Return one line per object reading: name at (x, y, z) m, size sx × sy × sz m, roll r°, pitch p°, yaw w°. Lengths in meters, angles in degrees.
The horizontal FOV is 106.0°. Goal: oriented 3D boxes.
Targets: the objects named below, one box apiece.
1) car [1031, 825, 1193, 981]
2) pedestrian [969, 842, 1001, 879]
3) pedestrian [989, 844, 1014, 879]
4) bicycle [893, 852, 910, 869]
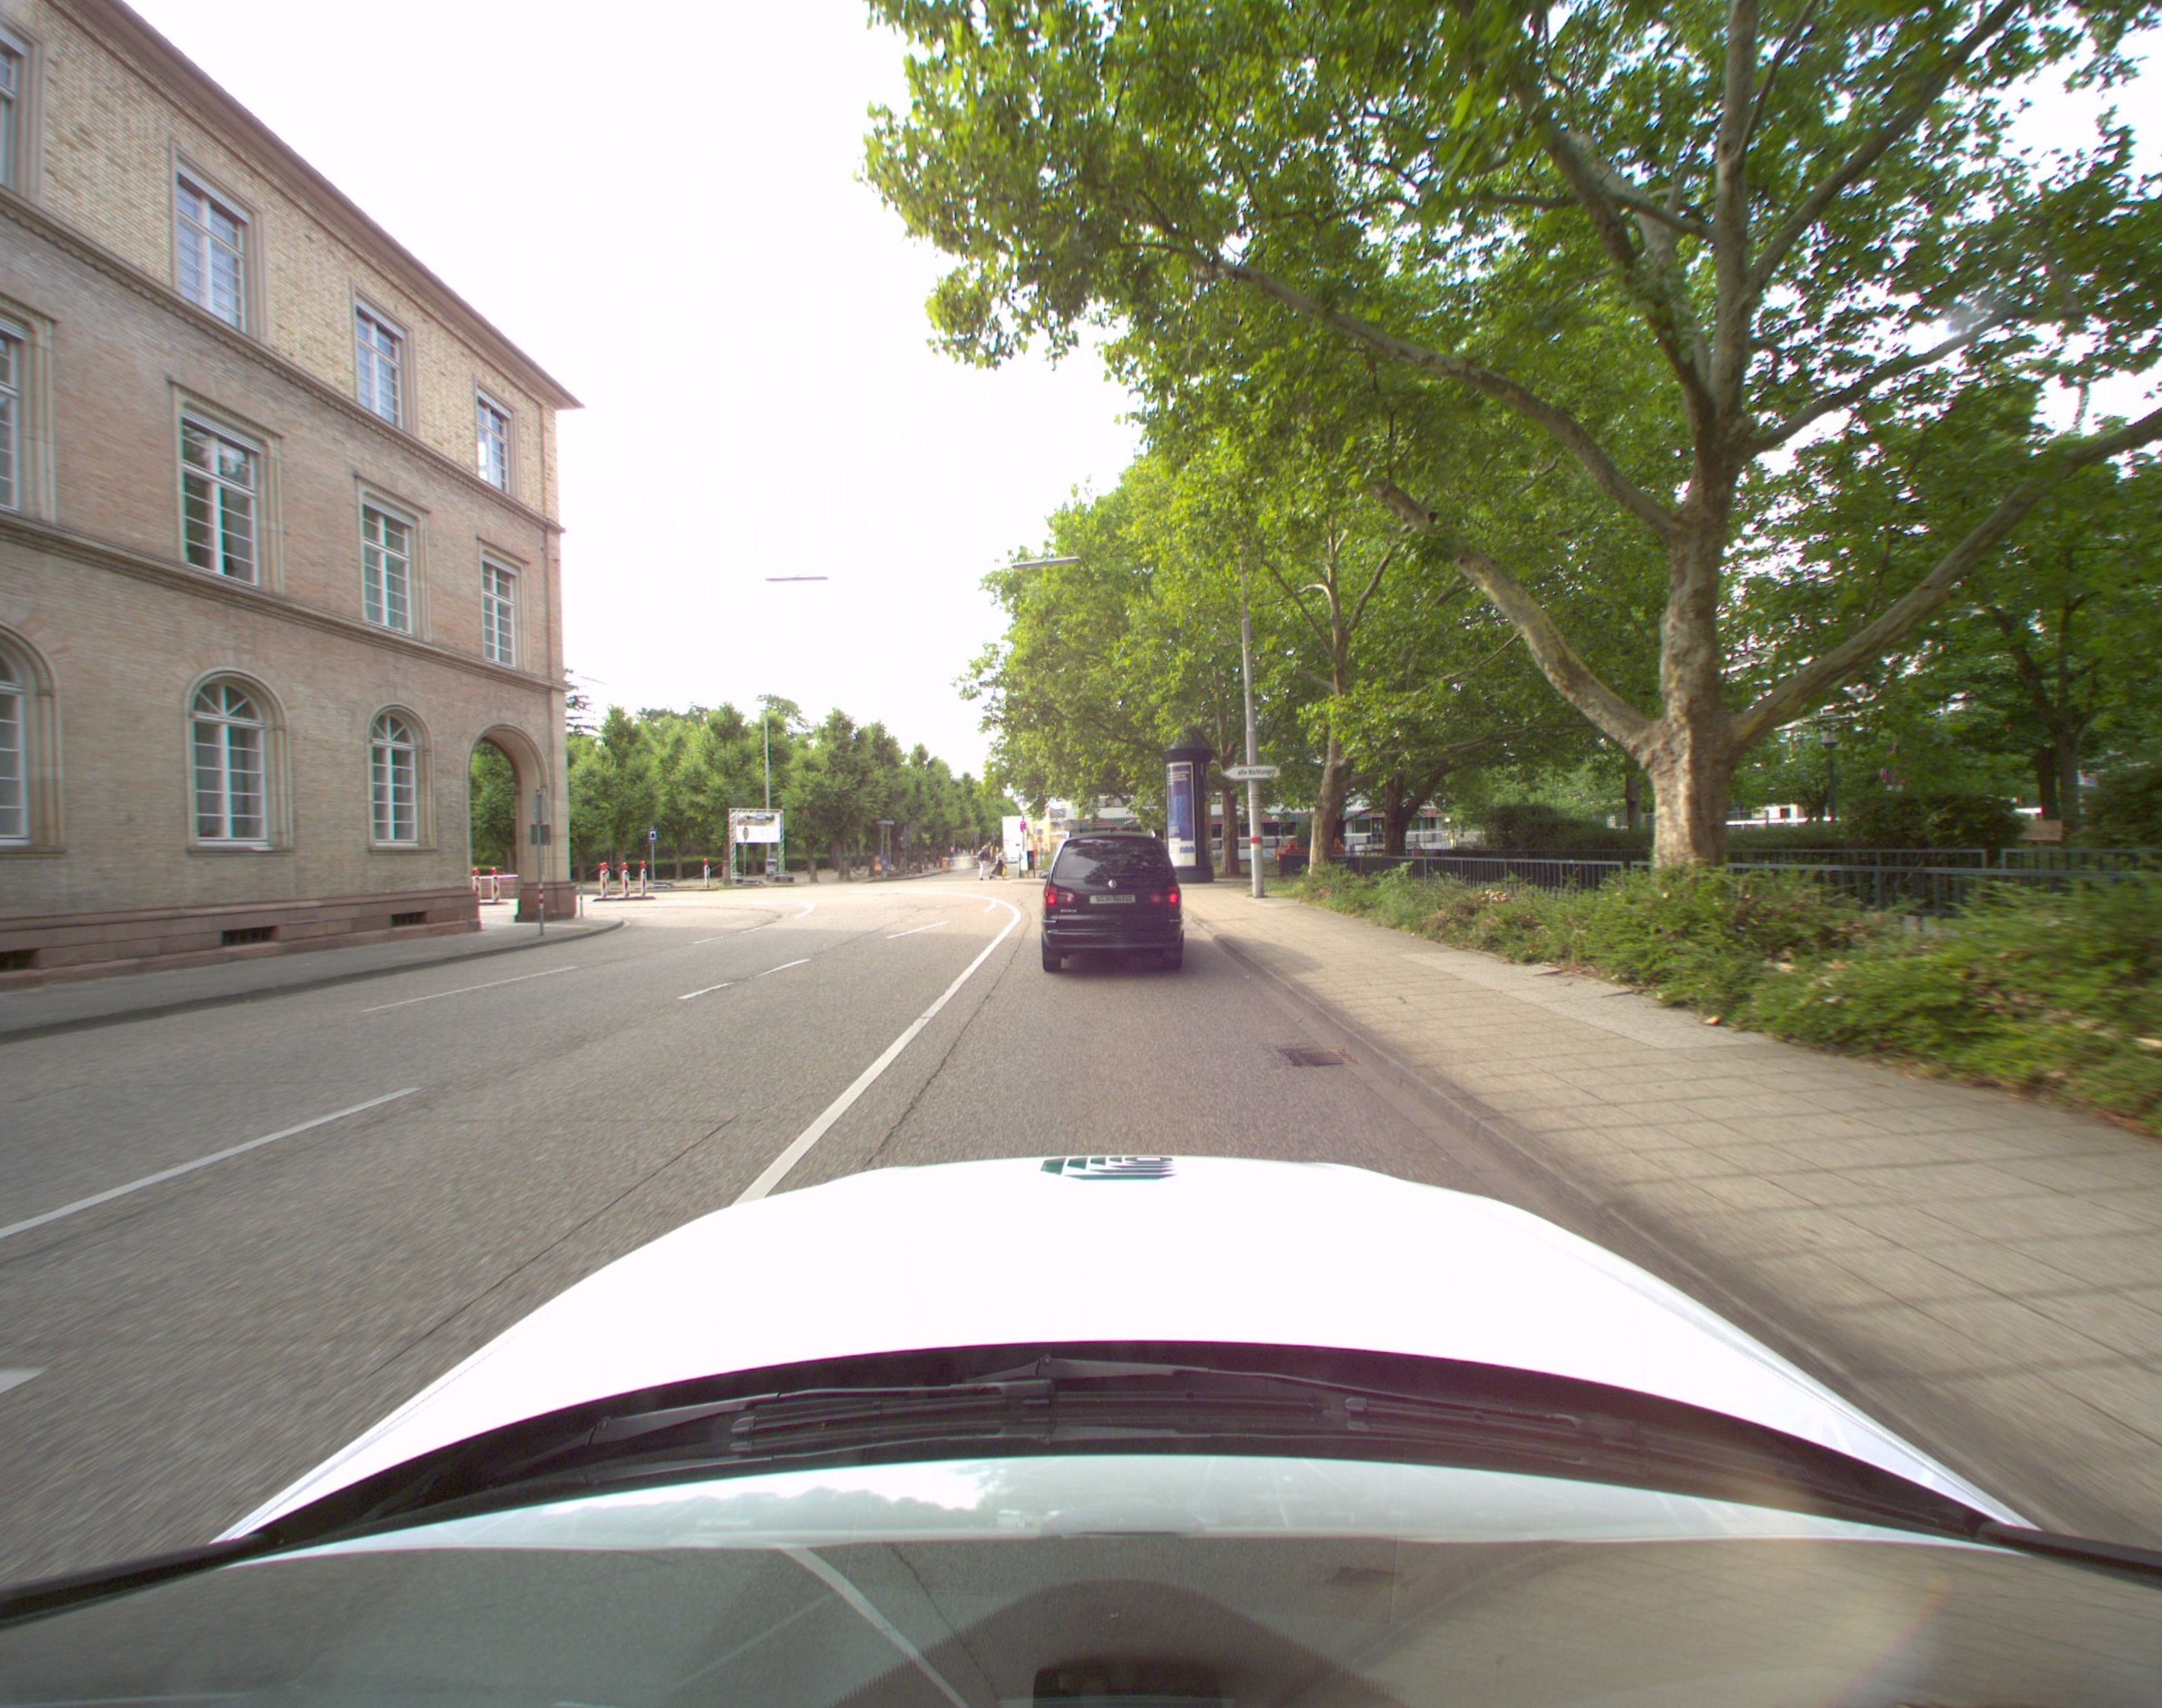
car at (0.363, 0.536, 11.331) m, size 1.788 × 1.708 × 4.131 m, roll -2°, pitch 1°, yaw 0°
pedestrian at (-4.664, 0.313, 39.644) m, size 0.951 × 1.741 × 1.264 m, roll 0°, pitch 1°, yaw 39°
pedestrian at (-3.832, 0.351, 39.263) m, size 0.887 × 1.641 × 0.858 m, roll 0°, pitch 1°, yaw 36°
bicycle at (-12.223, 0.407, 55.533) m, size 0.954 × 1.110 × 2.565 m, roll 0°, pitch 1°, yaw -17°
